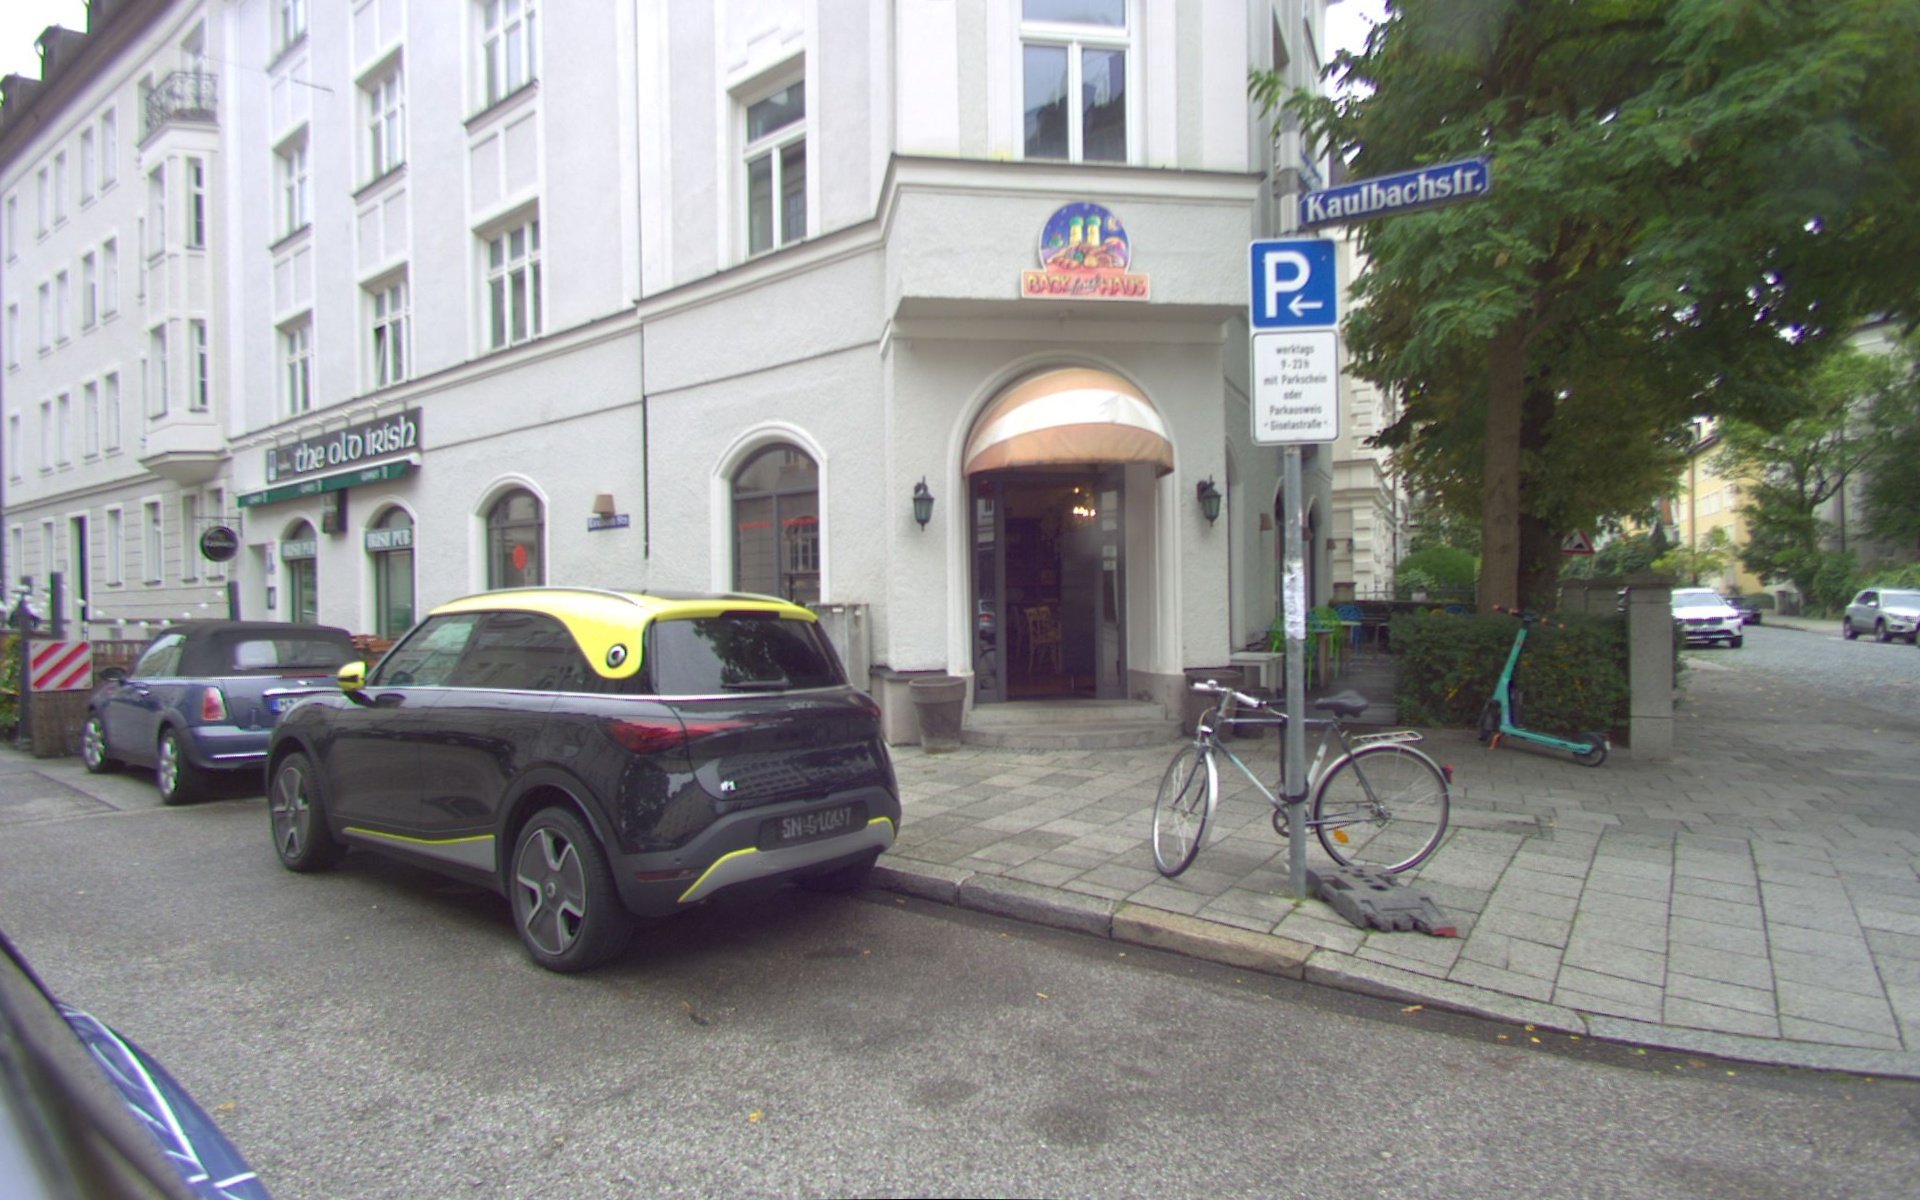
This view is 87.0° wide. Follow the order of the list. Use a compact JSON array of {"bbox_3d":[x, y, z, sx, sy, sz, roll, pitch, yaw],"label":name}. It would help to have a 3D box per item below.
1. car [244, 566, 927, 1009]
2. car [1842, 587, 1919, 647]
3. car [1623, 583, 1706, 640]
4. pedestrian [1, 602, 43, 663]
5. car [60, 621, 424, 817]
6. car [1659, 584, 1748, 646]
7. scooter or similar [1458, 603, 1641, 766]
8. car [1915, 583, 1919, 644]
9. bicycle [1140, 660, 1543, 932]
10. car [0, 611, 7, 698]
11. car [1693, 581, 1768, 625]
[{"bbox_3d":[-2.230,0.717,5.563,3.938,1.609,1.661,-1,-2,37],"label":"car"},{"bbox_3d":[28.255,0.451,30.149,1.902,1.620,4.101,-4,-1,26],"label":"car"},{"bbox_3d":[24.307,0.380,35.043,1.838,1.785,3.961,-3,-1,29],"label":"car"},{"bbox_3d":[-26.885,0.916,29.023,0.654,1.720,0.702,-1,0,-22],"label":"pedestrian"},{"bbox_3d":[-6.626,0.894,9.187,3.996,1.401,1.690,-1,-2,39],"label":"car"},{"bbox_3d":[21.204,0.402,28.964,1.908,1.620,4.089,1,1,35],"label":"car"},{"bbox_3d":[4.871,0.653,8.401,0.547,1.225,1.189,-3,2,-41],"label":"scooter or similar"},{"bbox_3d":[25.587,0.362,24.877,1.902,1.620,4.101,-1,0,26],"label":"car"},{"bbox_3d":[1.715,0.855,4.833,1.640,1.053,0.895,-1,2,13],"label":"bicycle"},{"bbox_3d":[-20.941,1.073,20.308,4.264,1.686,1.731,-1,-3,34],"label":"car"},{"bbox_3d":[37.555,0.155,49.432,1.987,2.029,3.969,-1,0,23],"label":"car"}]
